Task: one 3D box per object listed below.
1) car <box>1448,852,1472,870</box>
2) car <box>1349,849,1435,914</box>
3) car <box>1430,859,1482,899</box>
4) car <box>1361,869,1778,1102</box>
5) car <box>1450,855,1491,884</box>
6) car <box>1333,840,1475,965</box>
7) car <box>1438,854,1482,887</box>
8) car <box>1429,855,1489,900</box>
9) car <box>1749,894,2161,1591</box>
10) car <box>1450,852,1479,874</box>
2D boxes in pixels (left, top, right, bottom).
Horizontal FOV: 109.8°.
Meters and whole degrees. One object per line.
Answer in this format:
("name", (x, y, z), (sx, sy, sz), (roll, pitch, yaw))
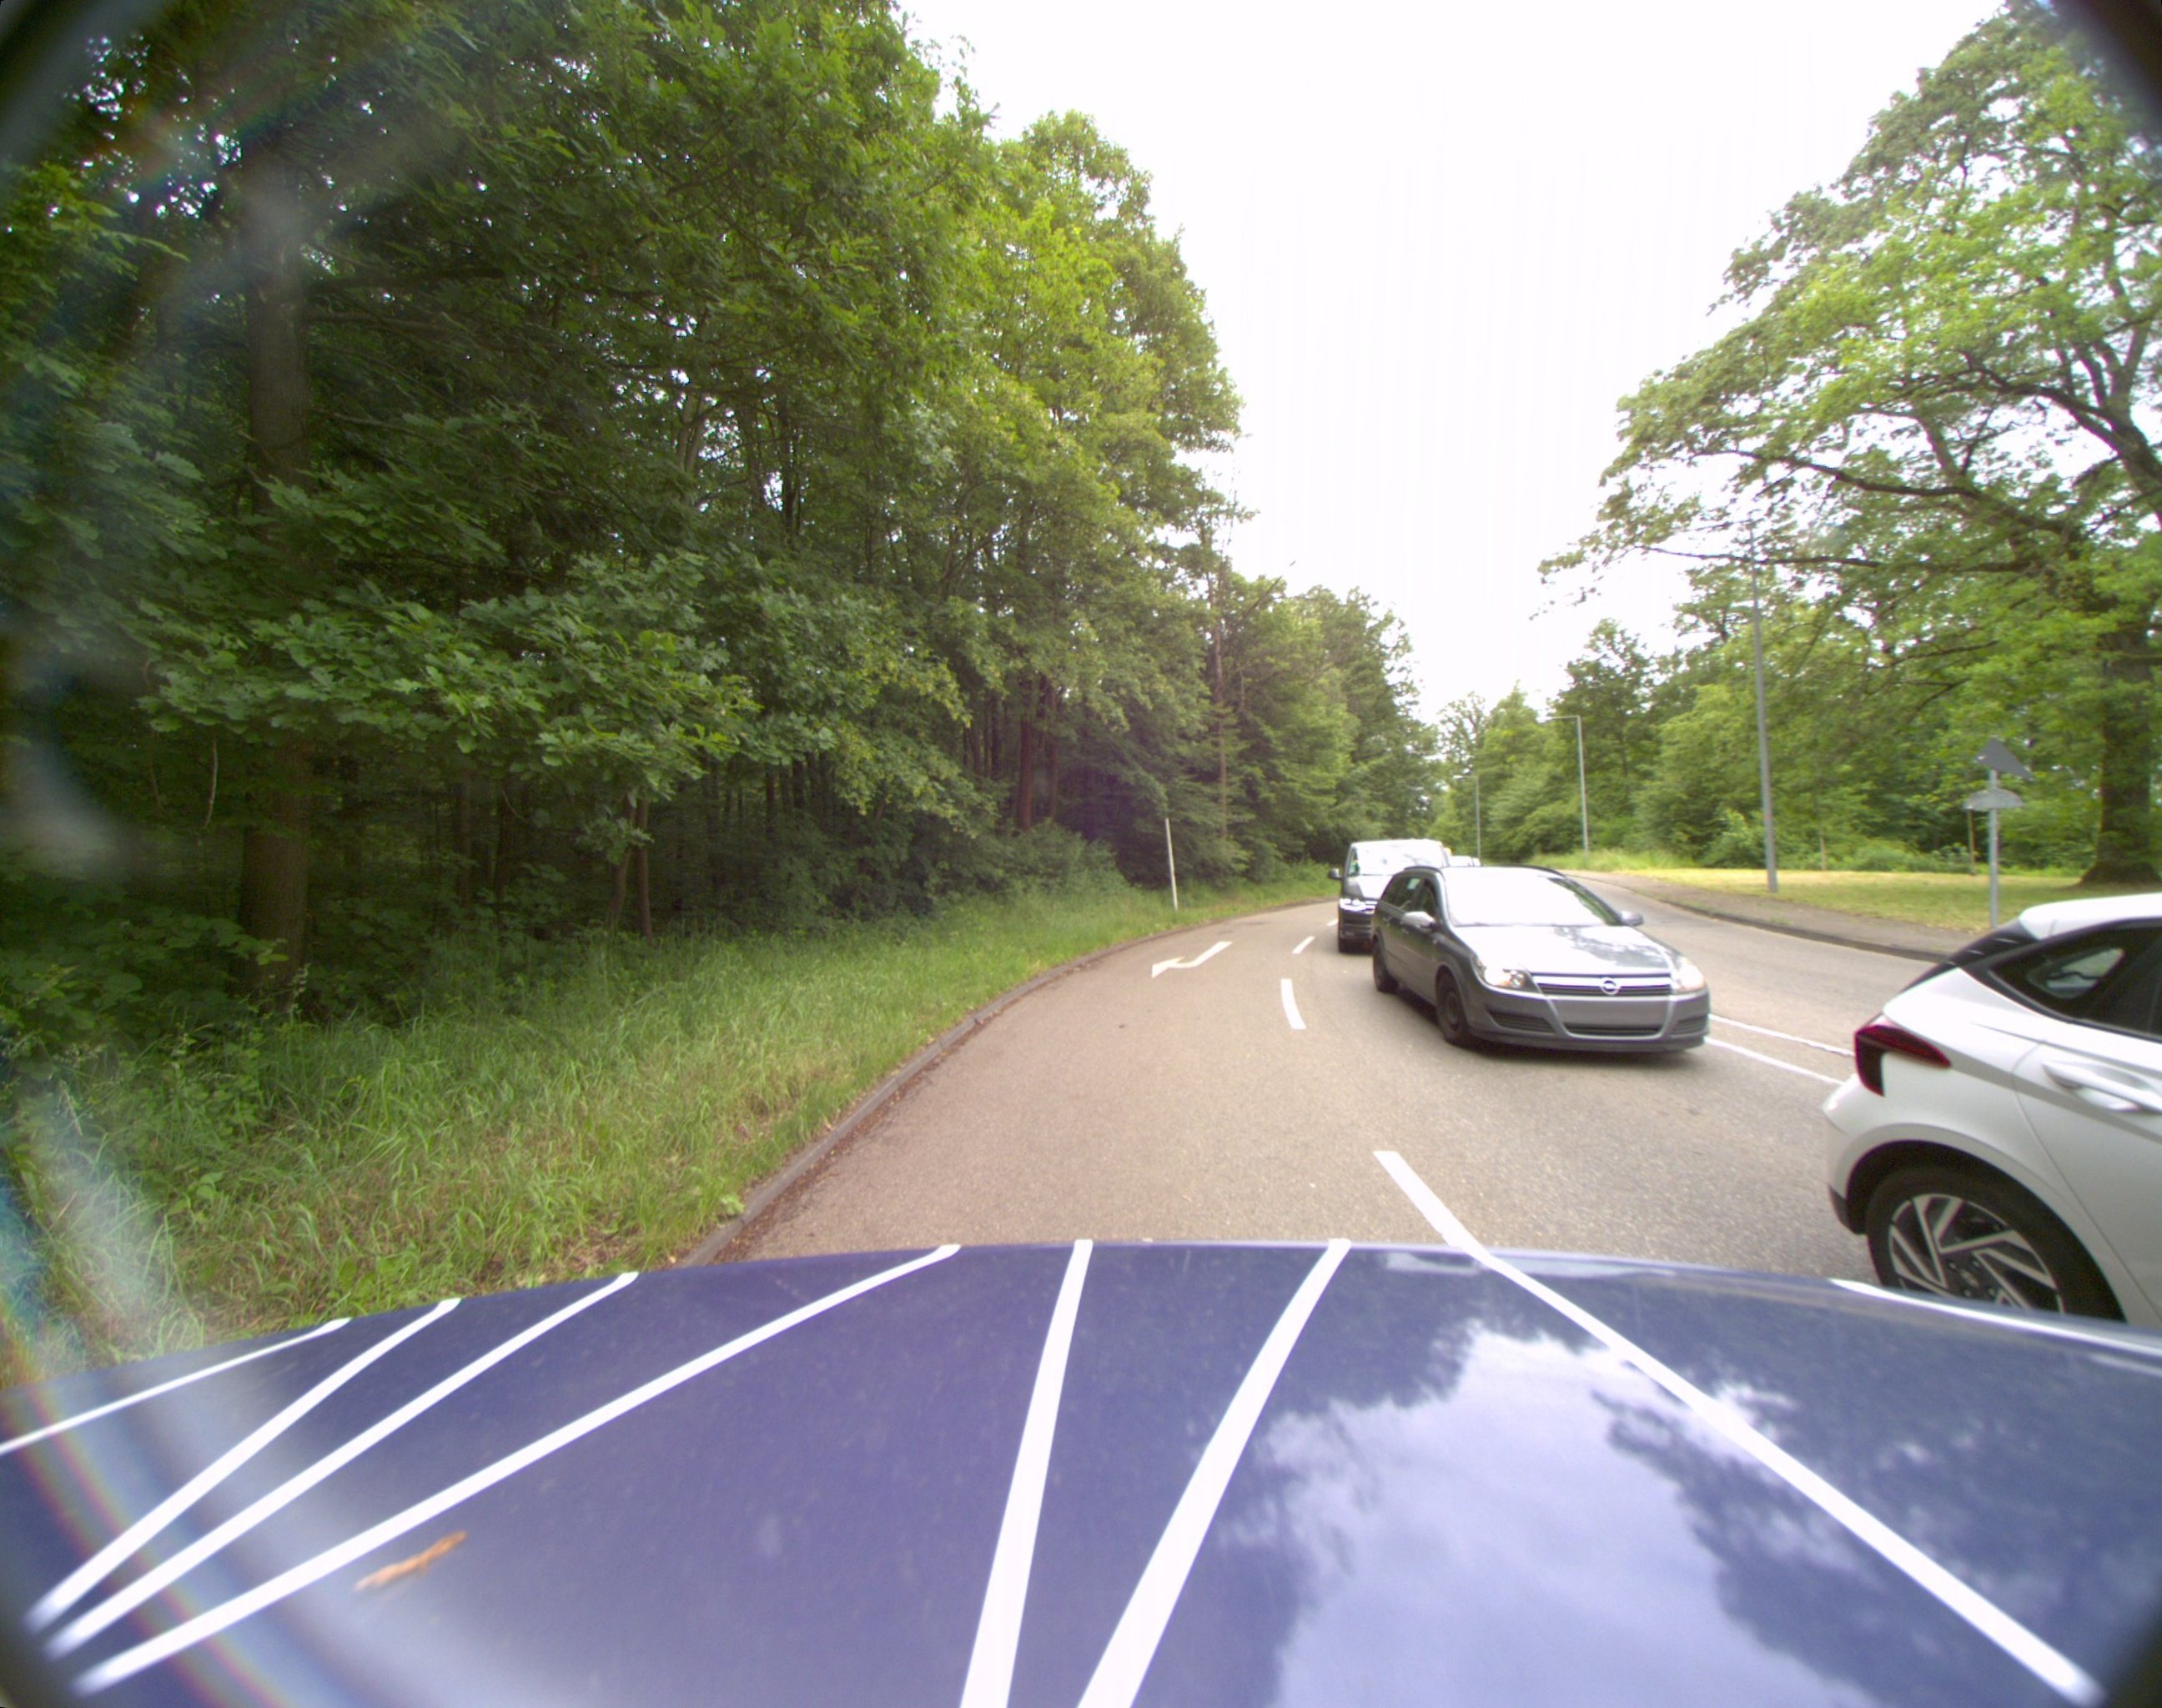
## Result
("car", (34.187, 0.616, 68.469), (1.775, 1.490, 3.880), (-2, -1, 28))
("car", (8.946, 0.739, 21.664), (1.790, 1.664, 3.998), (-2, -1, 28))
("car", (15.217, 0.983, 30.950), (1.775, 1.490, 3.880), (-2, -1, 25))
("car", (4.054, 0.923, 7.312), (1.801, 1.470, 4.474), (-1, -1, 11))
("car", (20.970, 0.806, 41.022), (1.775, 1.490, 3.880), (-2, -1, 25))
("car", (5.749, 0.763, 13.834), (1.987, 1.861, 4.539), (-1, -1, 21))
("car", (18.338, 0.794, 36.913), (1.775, 1.490, 3.880), (-2, -1, 25))
("car", (13.456, 0.810, 27.169), (1.775, 1.490, 3.880), (-2, -1, 25))
("car", (3.151, 0.862, 0.666), (1.653, 1.470, 4.074), (-1, -1, 3))
("car", (27.826, 0.641, 55.063), (1.775, 1.490, 3.880), (-2, -1, 28))
